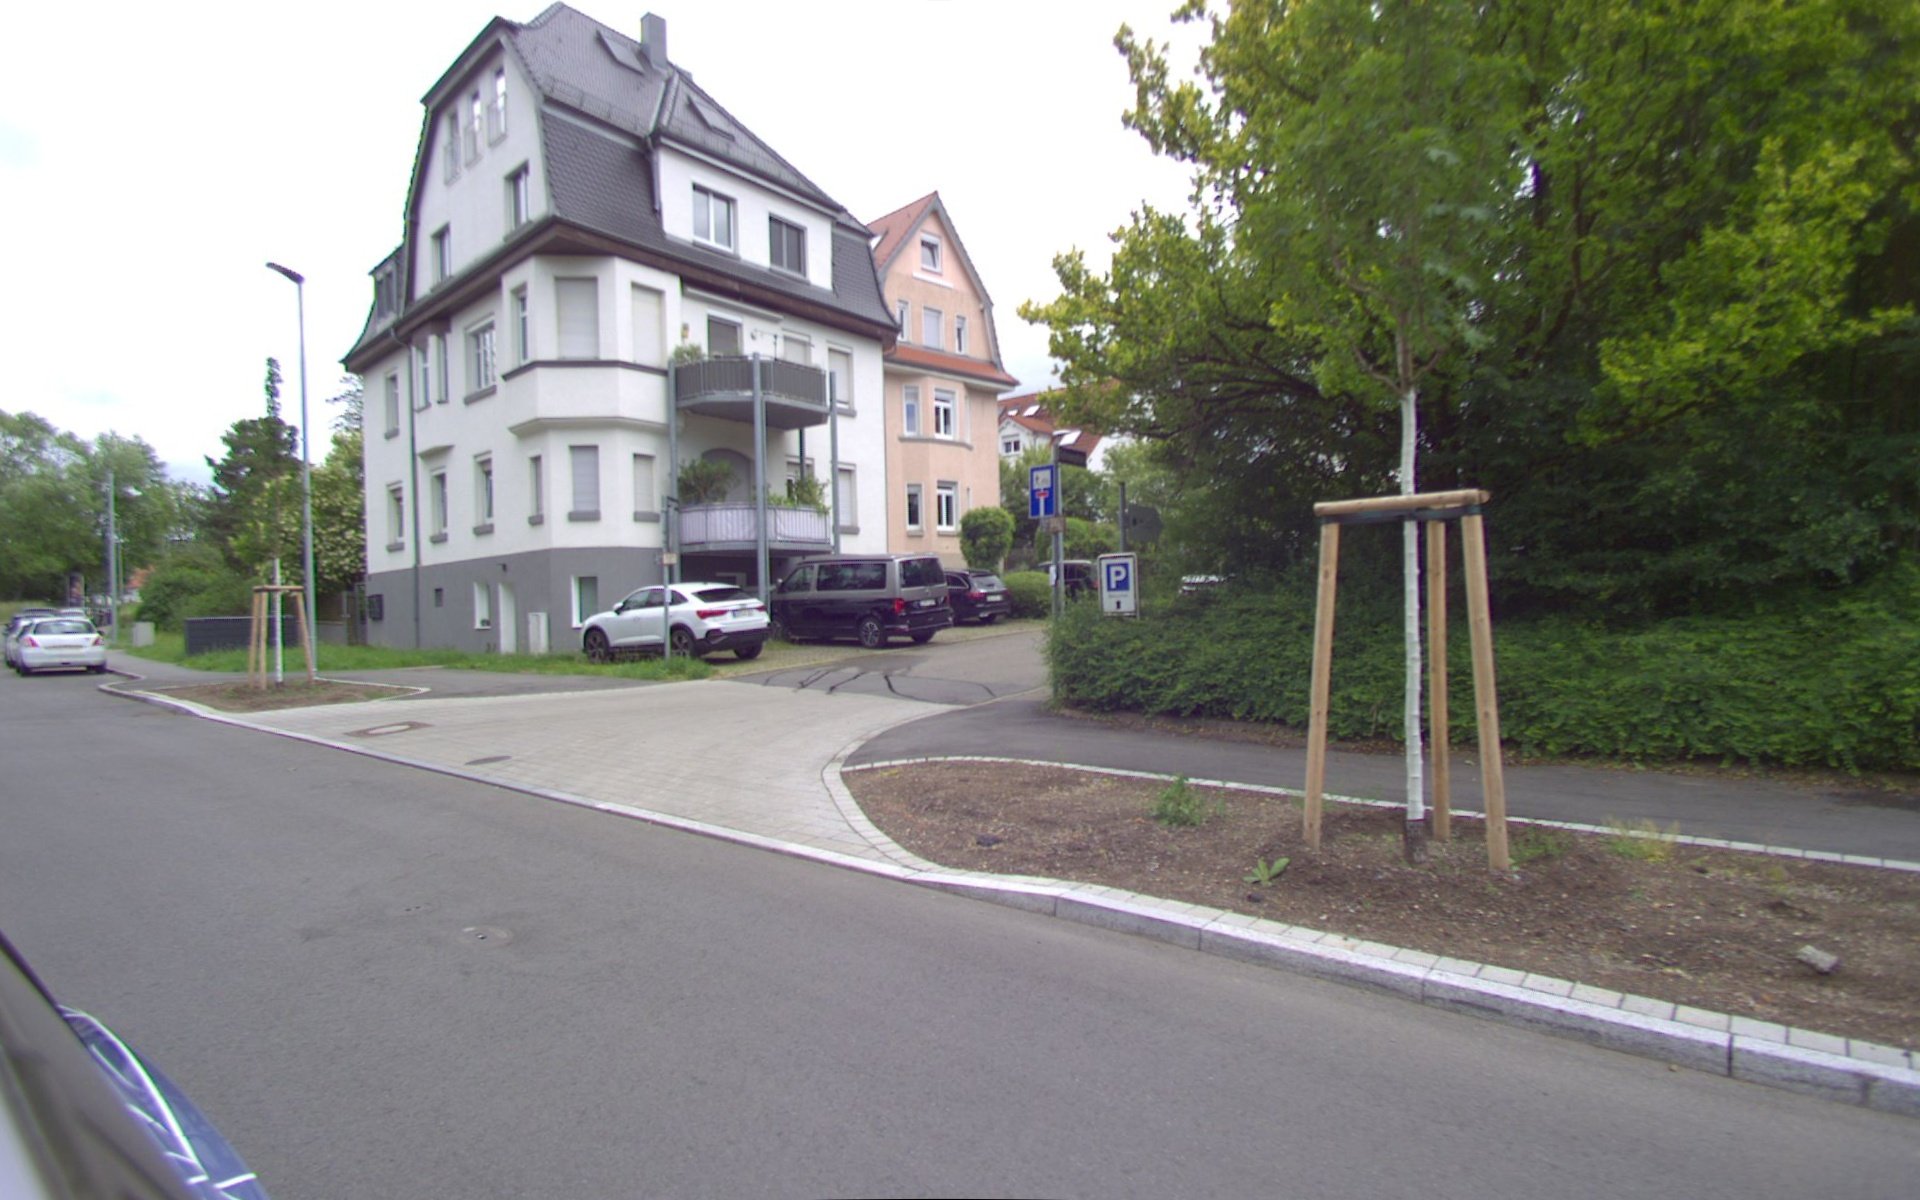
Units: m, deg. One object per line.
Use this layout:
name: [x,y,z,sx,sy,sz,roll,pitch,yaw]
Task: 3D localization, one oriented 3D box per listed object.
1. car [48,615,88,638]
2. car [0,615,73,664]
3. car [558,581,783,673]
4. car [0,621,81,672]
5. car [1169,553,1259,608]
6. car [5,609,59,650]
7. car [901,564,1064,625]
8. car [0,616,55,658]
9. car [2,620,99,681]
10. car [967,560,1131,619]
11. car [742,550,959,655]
car: [-58.268,1.697,66.151,1.709,1.439,3.465,0,-1,-37]
car: [-31.929,1.345,34.795,4.816,1.585,1.707,-2,-3,44]
car: [-5.858,0.465,20.239,4.589,1.544,1.889,0,4,37]
car: [-28.256,1.365,30.950,4.729,1.400,1.705,0,-1,45]
car: [8.128,-0.664,32.159,1.758,1.582,3.961,-2,2,29]
car: [-43.550,1.368,47.564,1.774,1.814,4.070,1,-1,-41]
car: [0.571,-0.179,27.998,4.314,1.509,1.665,0,4,37]
car: [-38.072,1.472,41.338,1.641,1.594,4.083,1,-1,-42]
car: [-24.177,1.276,26.855,4.072,1.481,1.624,-1,-1,44]
car: [2.676,-0.325,31.179,4.755,1.638,1.850,0,4,37]
car: [-2.518,0.007,22.586,4.755,2.066,1.888,0,4,37]
